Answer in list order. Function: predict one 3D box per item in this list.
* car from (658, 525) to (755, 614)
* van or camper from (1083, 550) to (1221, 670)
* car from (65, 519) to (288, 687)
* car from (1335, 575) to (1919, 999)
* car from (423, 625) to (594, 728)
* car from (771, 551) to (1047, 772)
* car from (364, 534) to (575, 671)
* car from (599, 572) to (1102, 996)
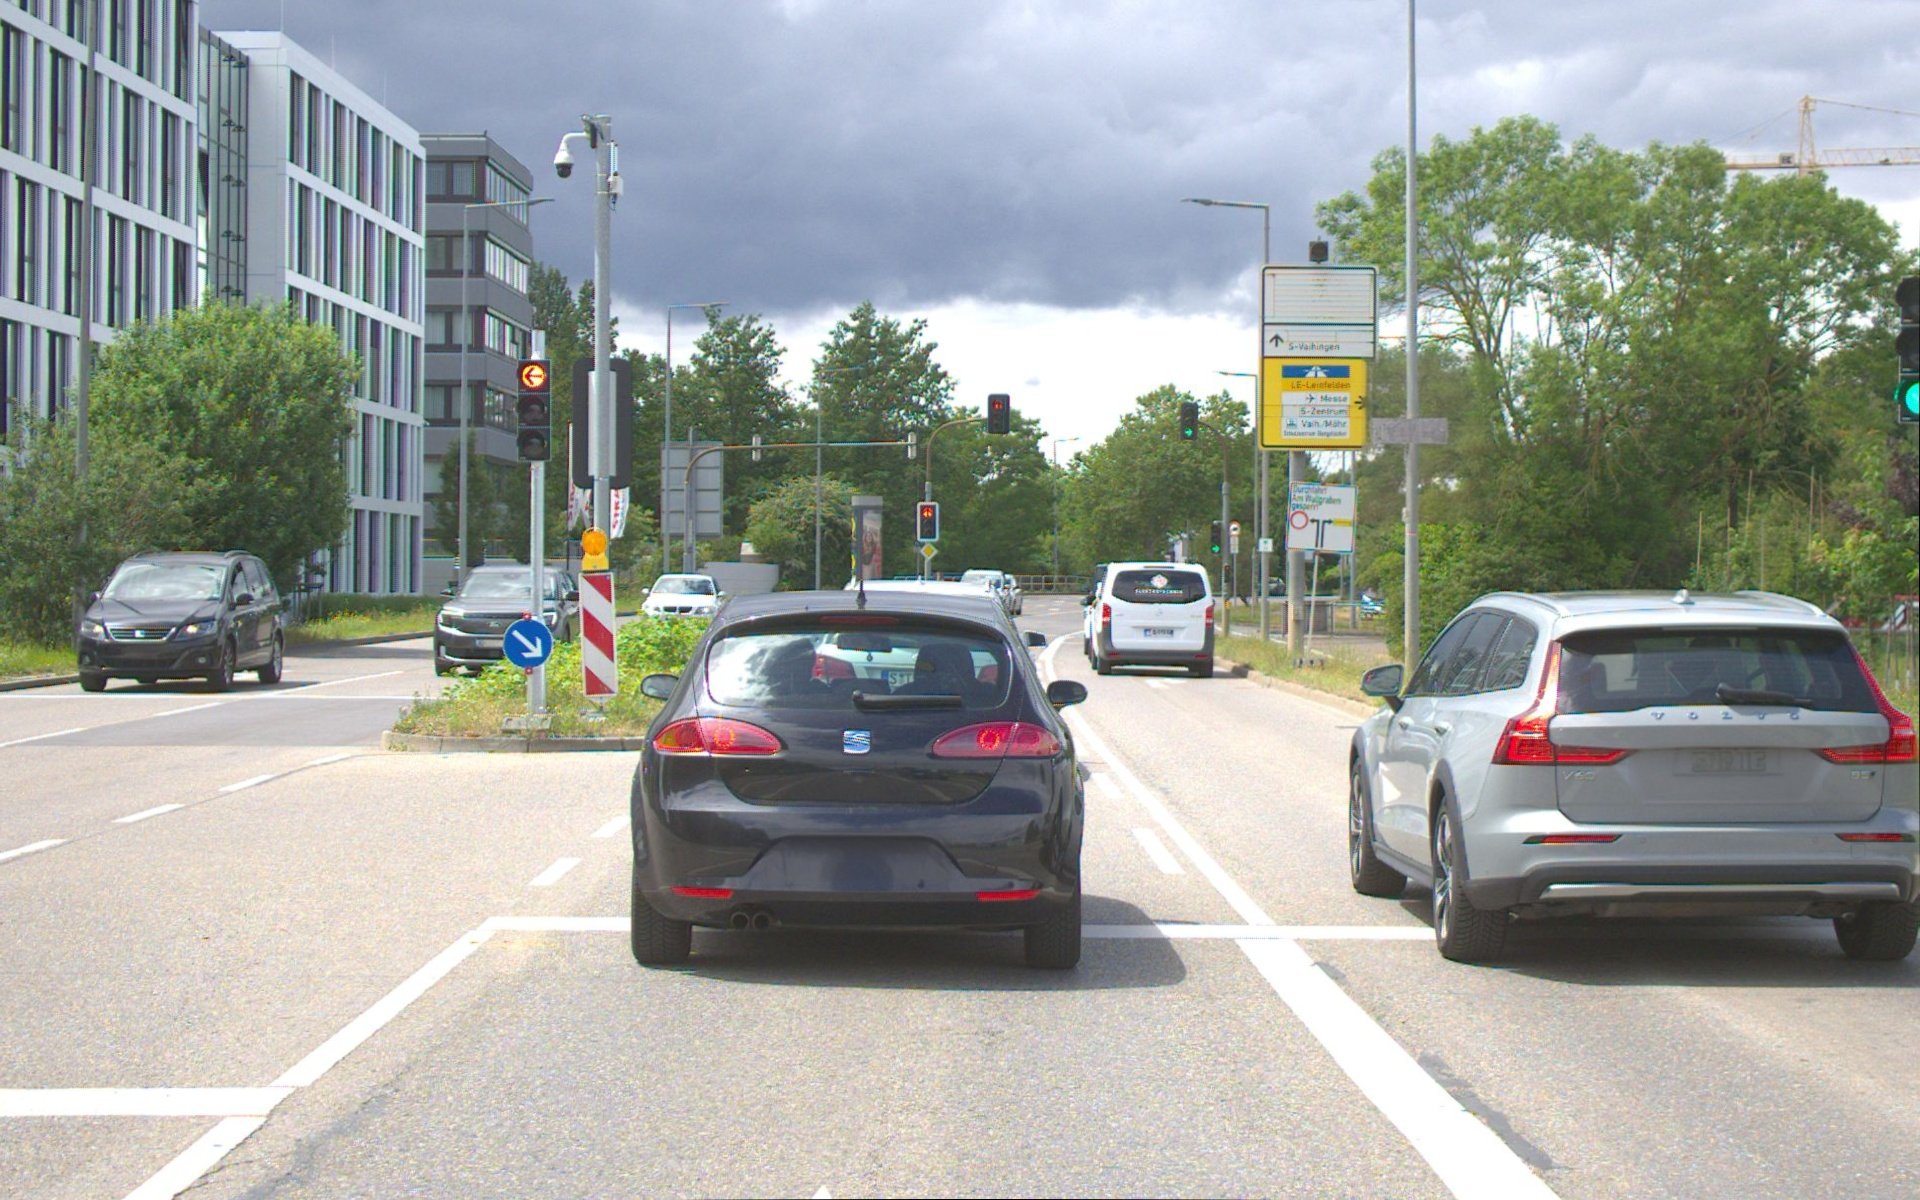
[{"bbox_3d":[-5.868,-0.691,79.943,1.993,2.007,4.000,0,0,-1],"label":"car"},{"bbox_3d":[3.143,0.160,56.879,1.899,1.919,4.000,0,0,-2],"label":"van or camper"},{"bbox_3d":[-9.808,0.041,43.363,1.993,2.007,4.481,0,0,-3],"label":"car"},{"bbox_3d":[2.836,0.689,14.804,1.958,1.520,4.340,-1,0,0],"label":"car"},{"bbox_3d":[-6.506,1.077,49.899,1.993,1.404,4.000,0,0,-1],"label":"car"},{"bbox_3d":[-0.417,0.449,27.090,1.983,1.585,4.226,1,0,-1],"label":"car"},{"bbox_3d":[-5.439,0.028,38.564,1.845,1.456,4.056,0,0,-1],"label":"car"},{"bbox_3d":[-0.315,0.662,14.390,1.748,1.479,4.000,1,0,3],"label":"car"}]
